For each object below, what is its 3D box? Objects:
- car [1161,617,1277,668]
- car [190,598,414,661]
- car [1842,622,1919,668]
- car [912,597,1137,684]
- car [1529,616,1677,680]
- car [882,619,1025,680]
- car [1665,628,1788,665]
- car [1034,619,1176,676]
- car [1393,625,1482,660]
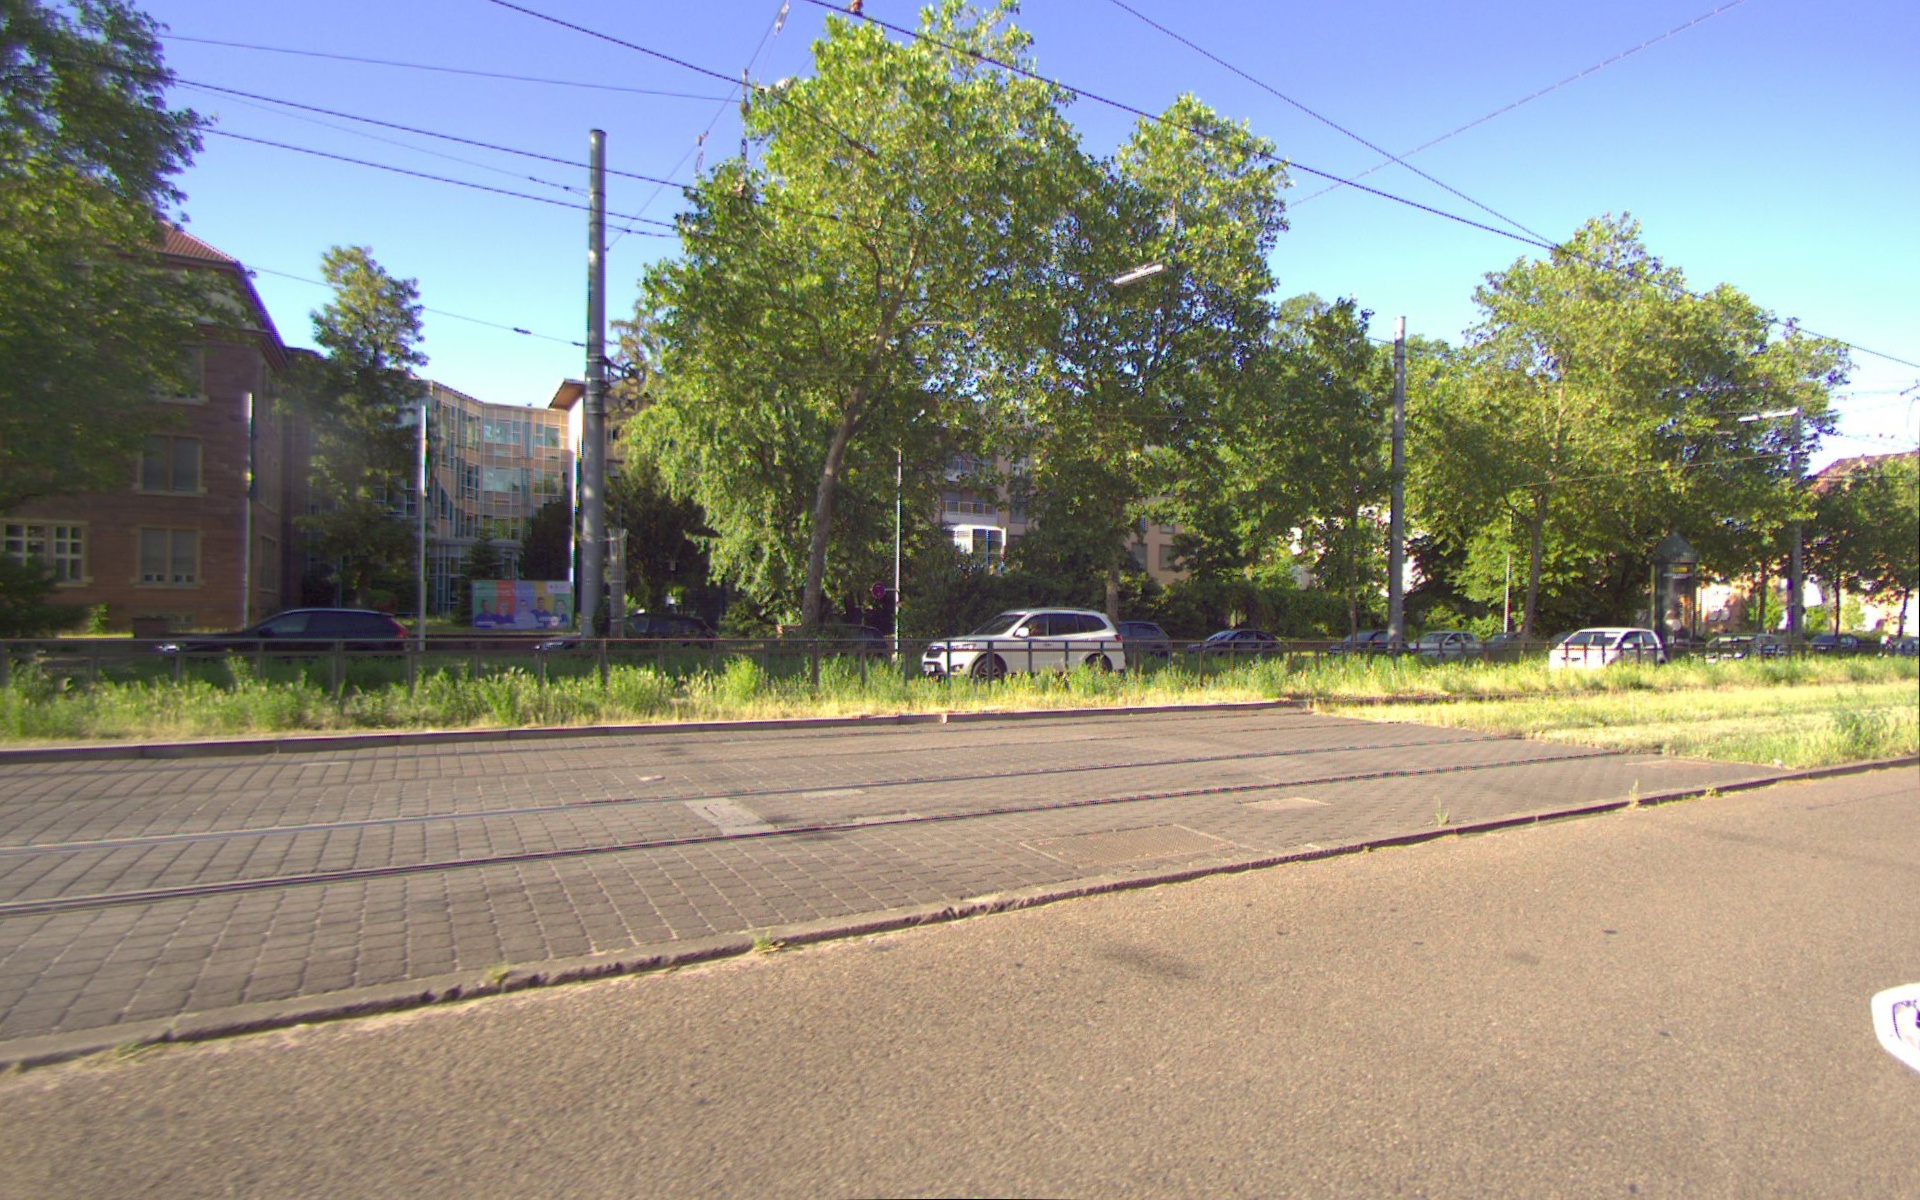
[{"bbox_3d":[9.456,1.506,36.591,3.953,1.706,1.812,1,1,-30],"label":"car"},{"bbox_3d":[-14.349,0.668,22.185,3.976,1.240,1.587,2,1,-29],"label":"car"},{"bbox_3d":[35.544,1.682,38.149,3.997,1.573,1.786,1,1,-29],"label":"car"},{"bbox_3d":[1.427,0.819,21.593,4.543,1.641,1.877,1,1,-30],"label":"car"},{"bbox_3d":[17.434,1.251,27.214,3.830,1.550,1.835,1,1,-31],"label":"car"},{"bbox_3d":[-0.189,1.473,30.851,3.954,1.644,1.983,1,1,-31],"label":"car"},{"bbox_3d":[27.456,1.641,35.933,4.646,1.150,1.683,1,1,-28],"label":"car"},{"bbox_3d":[4.891,1.531,33.664,4.463,1.706,1.983,1,1,-32],"label":"car"},{"bbox_3d":[19.696,1.737,41.392,3.461,1.330,1.561,1,1,-29],"label":"car"}]
